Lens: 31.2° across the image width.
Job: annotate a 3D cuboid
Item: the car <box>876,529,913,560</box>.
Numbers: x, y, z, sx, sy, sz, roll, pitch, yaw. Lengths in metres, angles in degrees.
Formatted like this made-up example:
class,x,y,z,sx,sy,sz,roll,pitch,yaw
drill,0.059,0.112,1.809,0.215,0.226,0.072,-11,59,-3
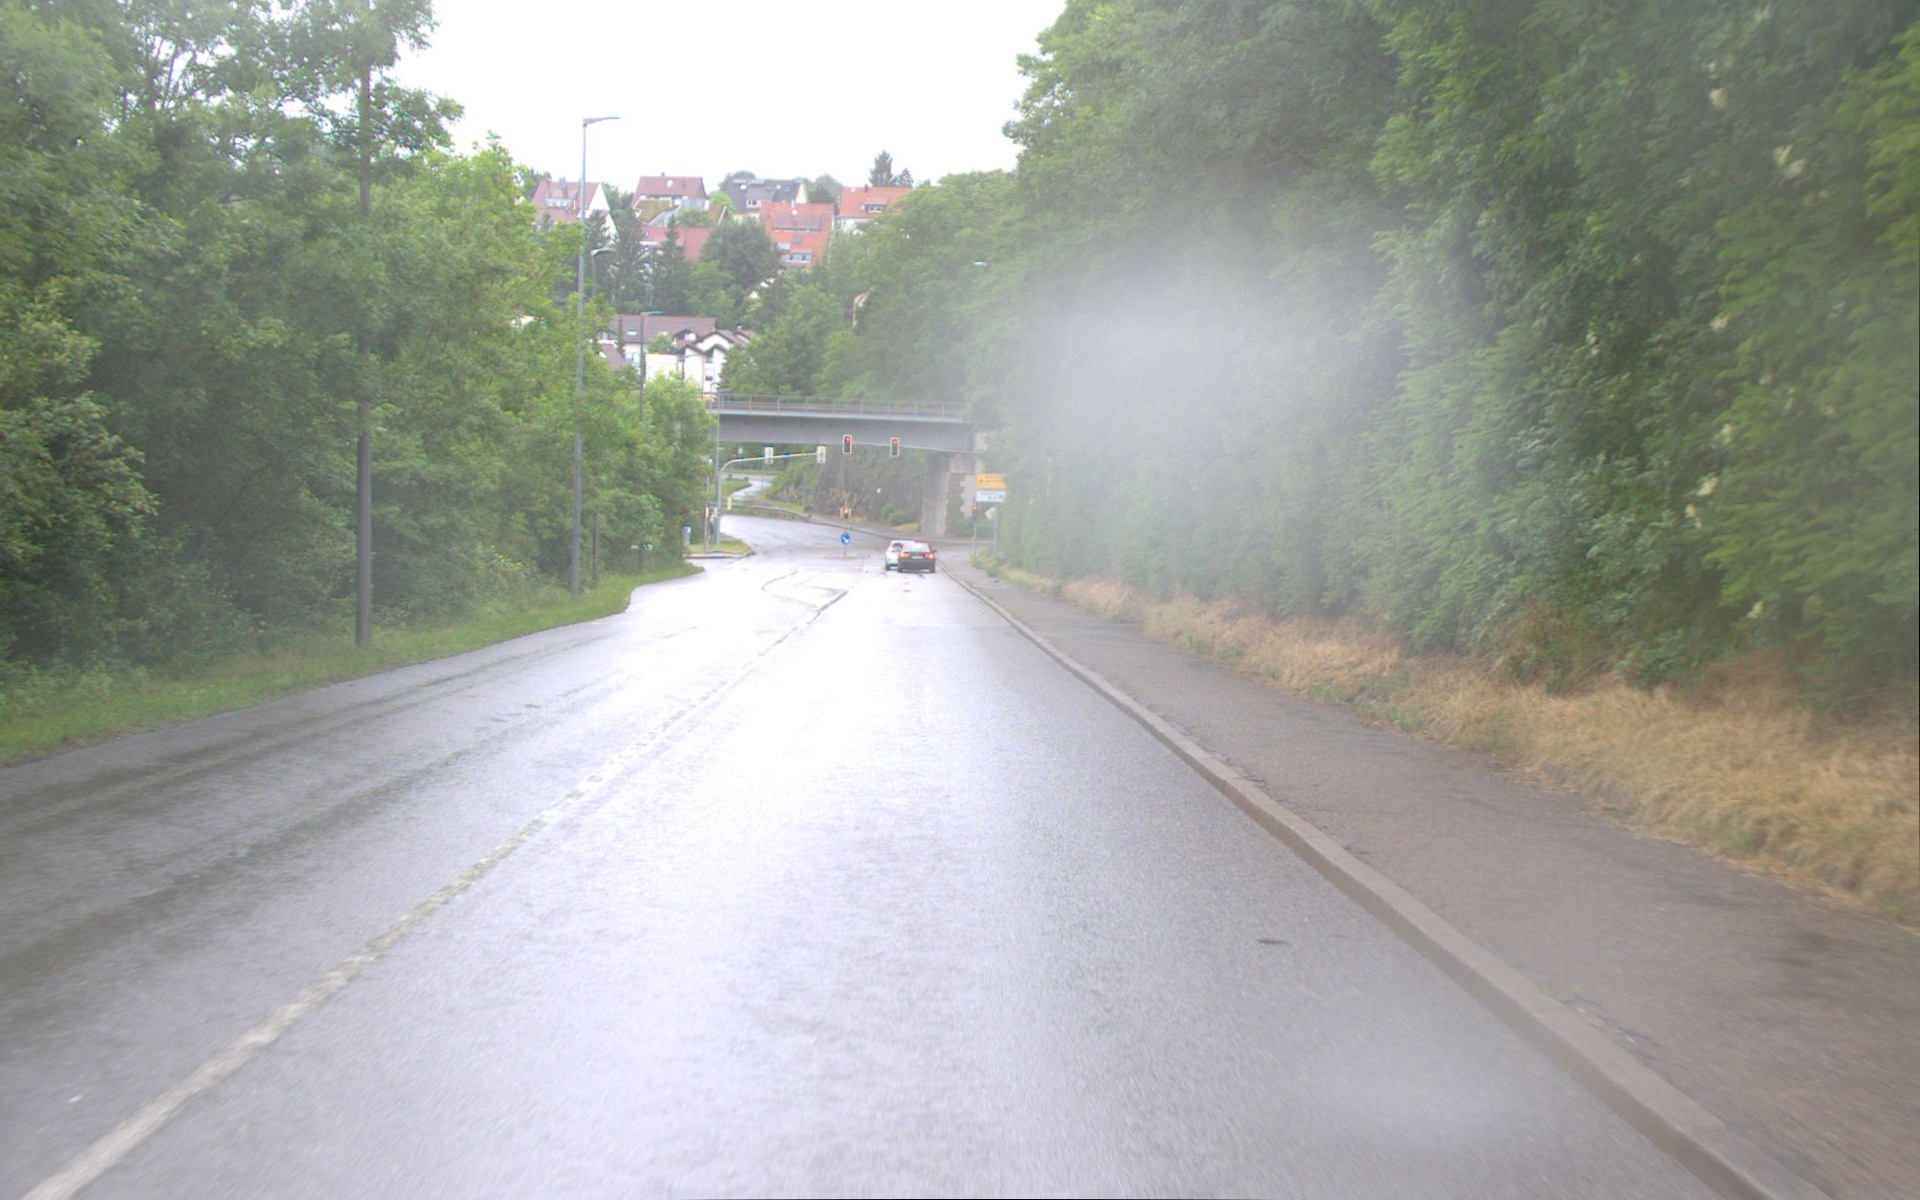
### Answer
class,x,y,z,sx,sy,sz,roll,pitch,yaw
car,-3.242,-2.746,170.194,1.768,1.557,4.000,0,1,0

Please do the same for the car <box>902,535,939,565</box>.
class,x,y,z,sx,sy,sz,roll,pitch,yaw
car,-1.864,-2.378,163.441,1.768,1.375,4.000,0,1,0
